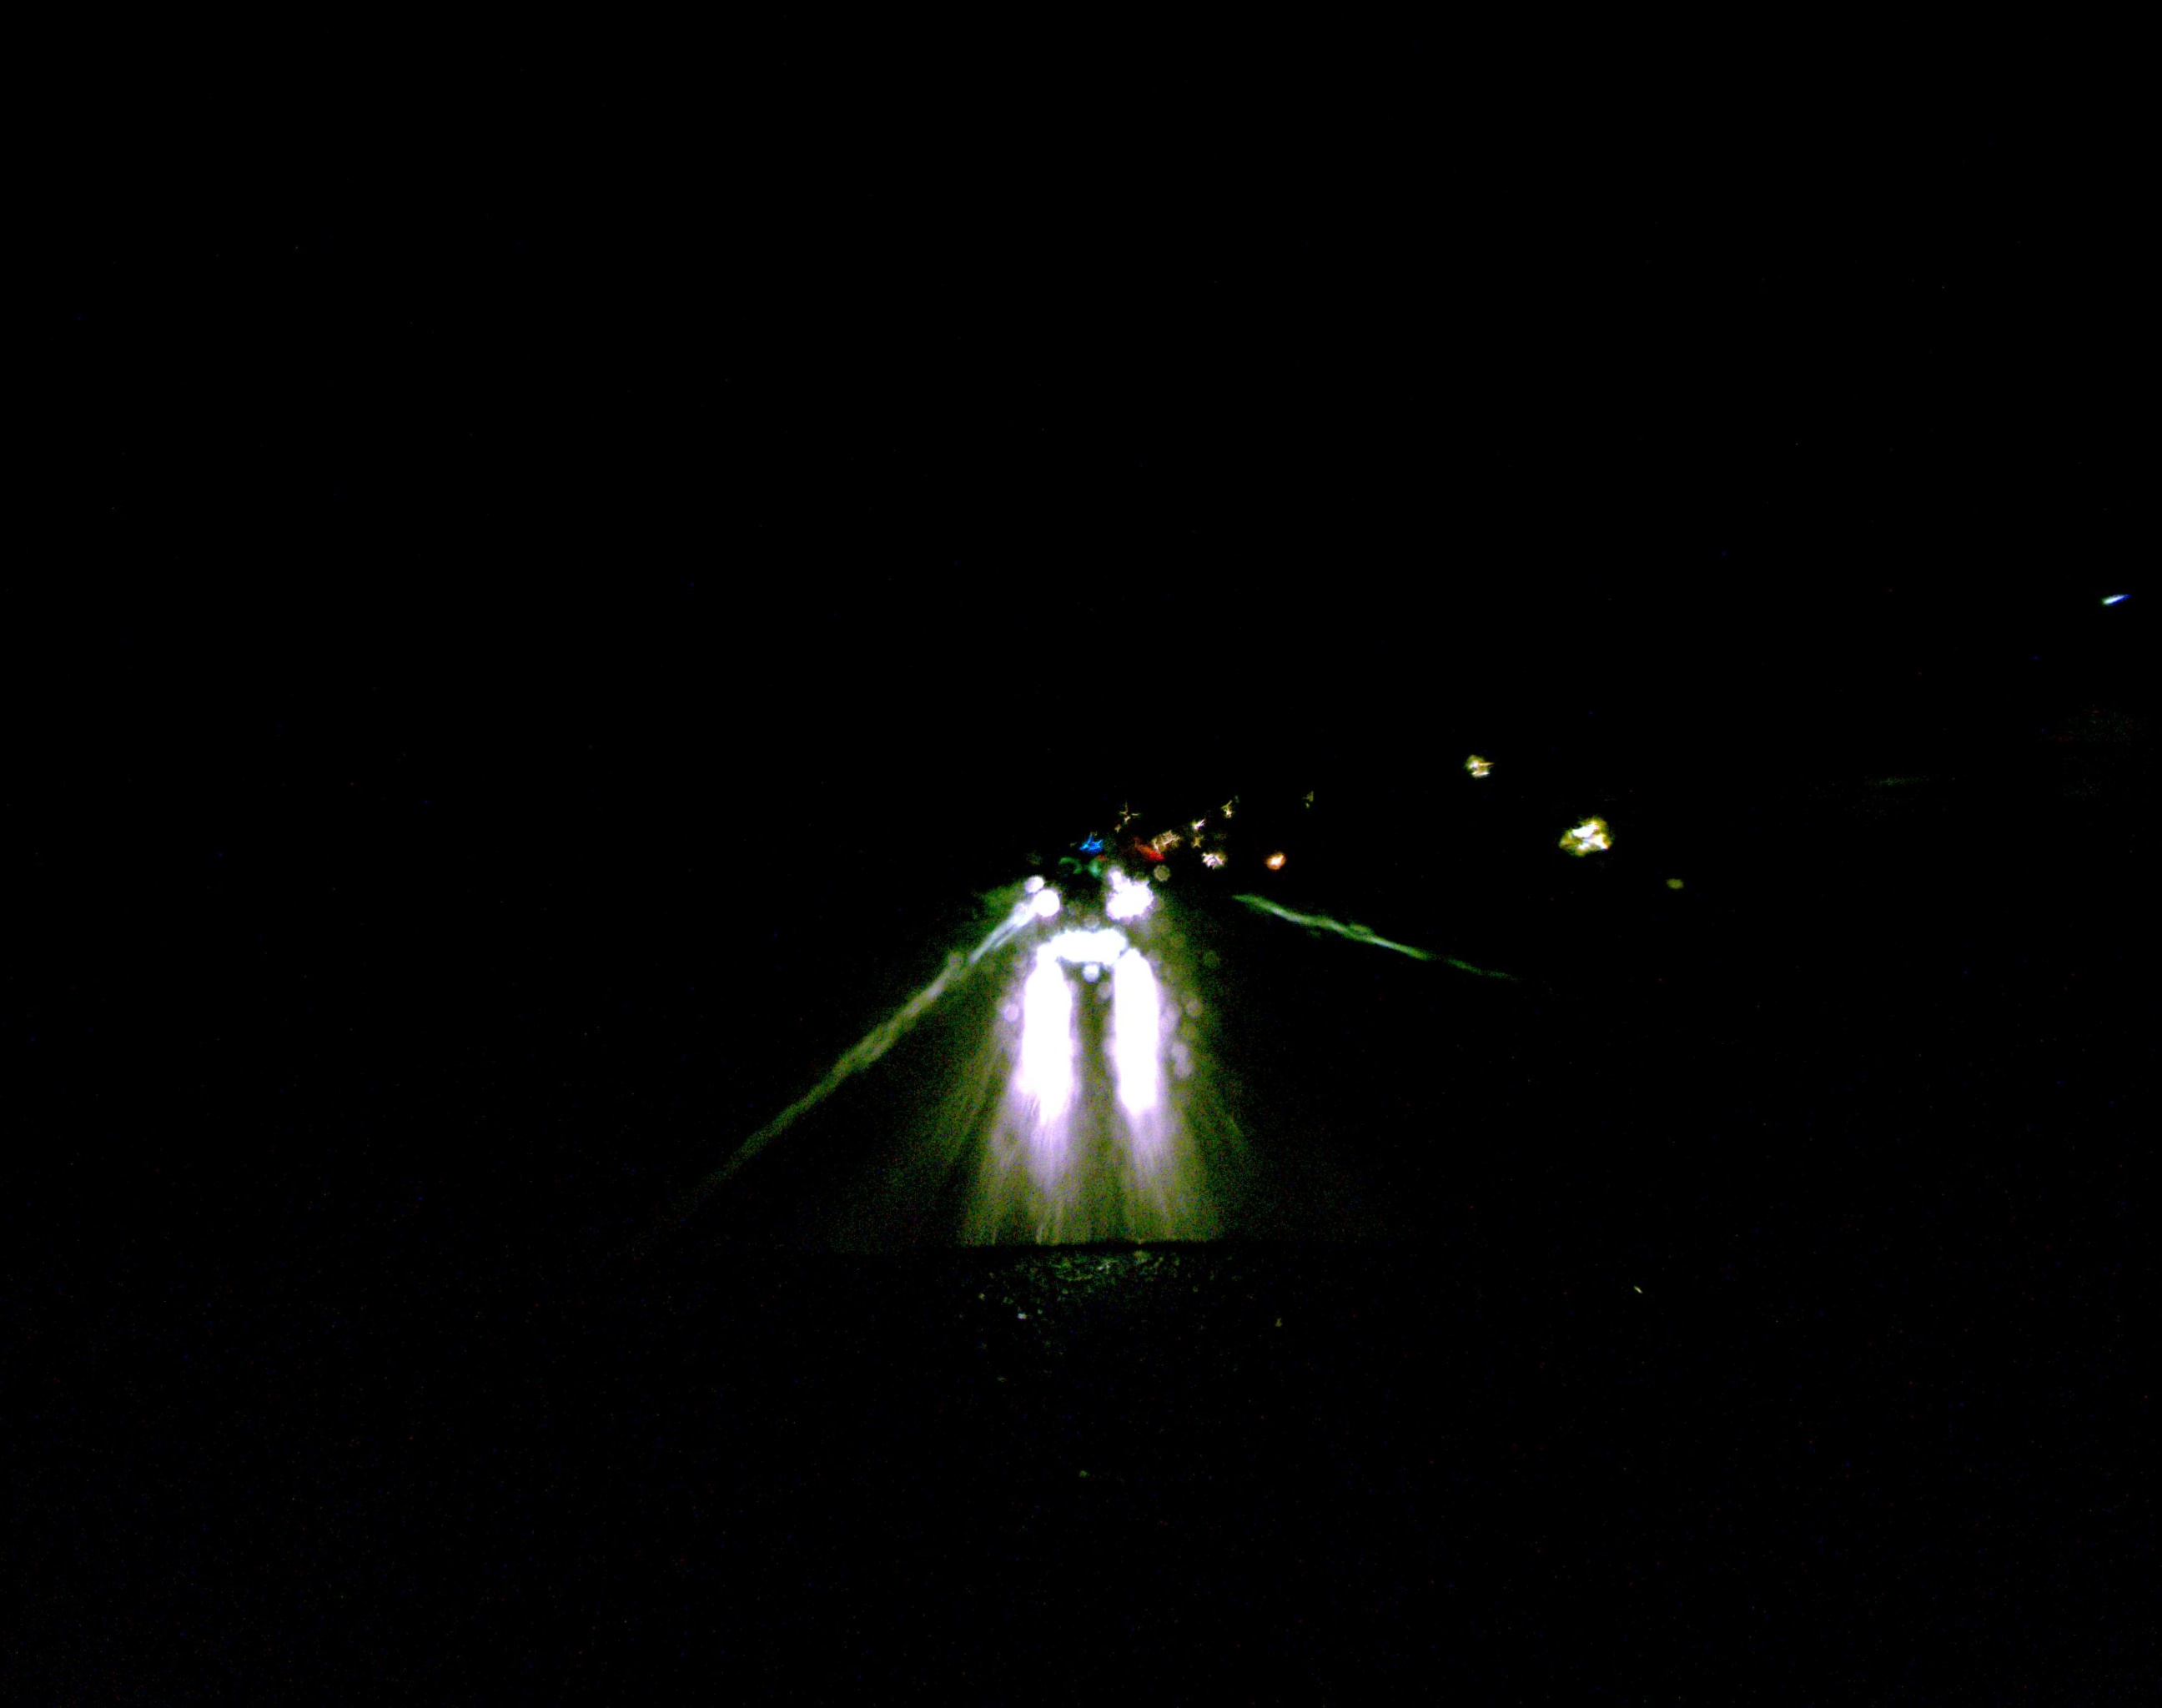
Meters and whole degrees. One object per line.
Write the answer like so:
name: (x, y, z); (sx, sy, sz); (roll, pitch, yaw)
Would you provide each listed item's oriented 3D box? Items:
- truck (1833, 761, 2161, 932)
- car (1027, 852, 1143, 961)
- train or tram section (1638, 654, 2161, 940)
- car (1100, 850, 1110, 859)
truck: (30.663, -0.314, 24.114); (3.448, 4.583, 10.211); (-2, 1, 0)
car: (0.083, 0.855, 14.278); (1.791, 1.684, 4.219); (-2, 0, 0)
train or tram section: (15.649, -0.678, 1.022); (2.703, 3.793, 37.139); (-2, 1, 0)
car: (5.468, 0.165, 173.651); (1.796, 2.010, 4.578); (2, 0, -4)
